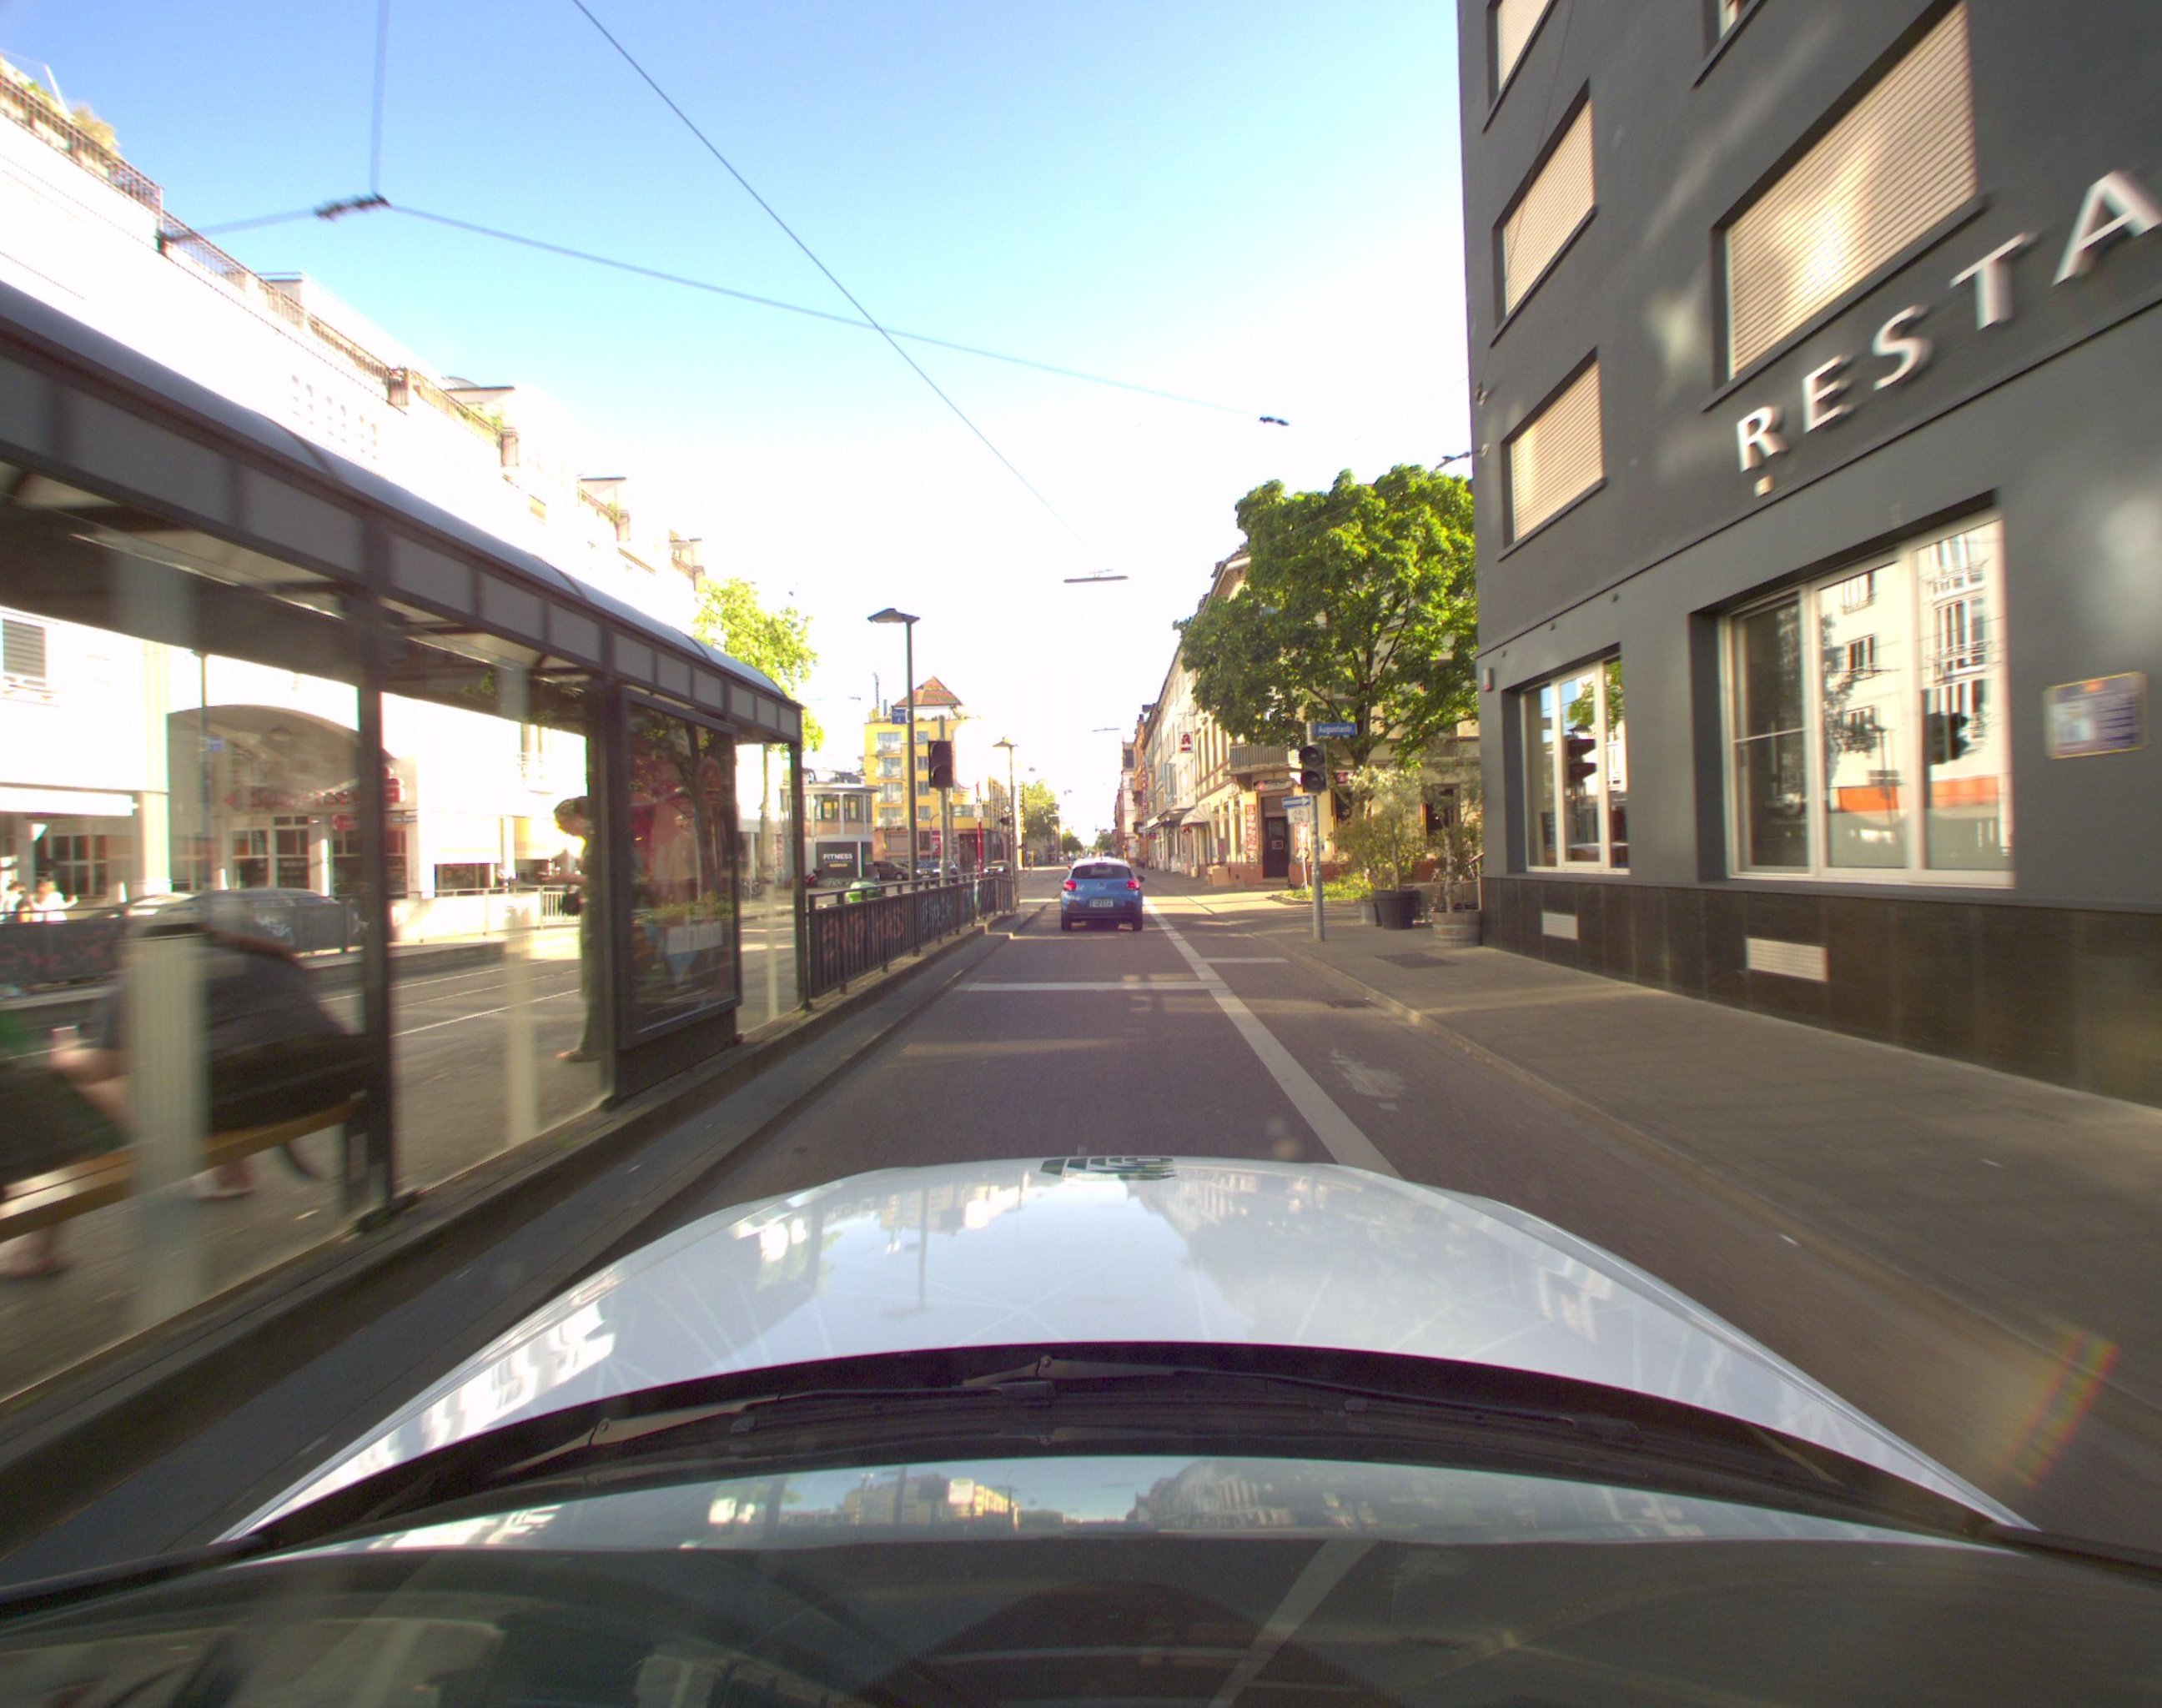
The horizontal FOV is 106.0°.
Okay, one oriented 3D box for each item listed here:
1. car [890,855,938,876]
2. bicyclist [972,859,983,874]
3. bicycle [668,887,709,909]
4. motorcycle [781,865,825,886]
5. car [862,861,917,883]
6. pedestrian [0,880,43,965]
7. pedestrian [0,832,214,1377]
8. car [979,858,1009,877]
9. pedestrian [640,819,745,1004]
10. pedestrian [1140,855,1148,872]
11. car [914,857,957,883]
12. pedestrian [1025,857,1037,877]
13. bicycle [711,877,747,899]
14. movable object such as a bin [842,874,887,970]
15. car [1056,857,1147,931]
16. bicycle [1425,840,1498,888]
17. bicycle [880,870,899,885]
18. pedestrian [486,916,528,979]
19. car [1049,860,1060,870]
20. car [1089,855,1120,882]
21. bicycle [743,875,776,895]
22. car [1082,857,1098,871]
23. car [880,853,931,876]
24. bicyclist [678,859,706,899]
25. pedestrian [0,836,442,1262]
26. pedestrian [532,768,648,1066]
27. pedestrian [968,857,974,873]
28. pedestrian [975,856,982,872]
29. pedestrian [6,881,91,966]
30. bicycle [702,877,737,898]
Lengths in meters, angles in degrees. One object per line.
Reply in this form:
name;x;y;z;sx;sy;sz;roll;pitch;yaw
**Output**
car;-15.109;1.039;73.743;3.977;1.848;1.956;-1;0;-2
bicyclist;-9.385;1.117;73.771;0.727;1.291;1.181;-1;0;2
bicycle;-15.407;1.721;32.009;0.564;0.757;1.939;-1;0;3
motorcycle;-17.559;1.347;51.519;2.506;1.288;0.667;-1;0;-2
car;-15.435;1.469;65.788;3.977;1.674;1.956;-1;0;-2
pedestrian;-21.279;1.362;16.278;0.359;1.664;0.492;0;-2;2
pedestrian;-2.885;0.595;2.036;0.708;1.272;0.657;-2;-1;4
car;-7.576;1.170;71.335;1.943;1.486;4.002;-3;0;2
pedestrian;-3.414;0.489;7.193;0.619;1.558;0.568;-1;-1;2
pedestrian;6.344;0.935;82.154;0.691;1.651;0.680;-1;0;0
car;-9.868;1.032;55.556;1.745;1.615;4.832;-3;0;3
pedestrian;-4.222;1.089;68.994;0.842;1.654;0.691;-1;-1;-27
bicycle;-16.450;1.577;38.093;0.387;0.941;1.504;-2;-1;37
movable object such as a bin;-2.352;0.726;8.847;0.345;1.007;0.404;-1;-1;2
car;0.458;0.794;17.865;1.774;1.451;3.655;0;0;2
bicycle;10.776;0.266;23.077;1.825;1.293;0.349;2;4;35
bicycle;-13.928;1.732;59.316;0.677;1.002;2.688;-1;0;3
pedestrian;-14.991;2.428;21.285;0.578;1.559;0.684;-1;0;0
car;-5.134;2.156;159.990;1.987;2.014;4.000;0;-1;1
car;1.602;0.981;55.169;1.986;1.743;4.001;0;-1;1
bicycle;-15.538;1.490;39.350;0.387;0.941;1.504;-2;-1;37
car;1.143;1.344;103.959;1.986;1.743;4.001;0;-1;1
car;-15.210;0.890;70.833;3.977;1.848;1.956;-1;0;-2
bicyclist;-15.352;0.987;32.164;0.669;1.557;0.778;-1;0;2
pedestrian;-2.893;0.595;2.818;0.761;1.272;0.720;-2;-1;4
pedestrian;-3.133;0.369;5.247;0.566;1.751;0.713;-1;-1;-28
pedestrian;-12.589;1.250;93.128;0.695;1.830;0.837;-1;0;-11
pedestrian;-11.720;1.158;93.103;0.695;1.858;0.837;-1;0;-11
pedestrian;-20.690;1.380;16.331;0.593;1.621;0.845;-1;-1;2
bicycle;-17.116;1.570;38.596;0.387;0.941;1.504;-2;-1;37
